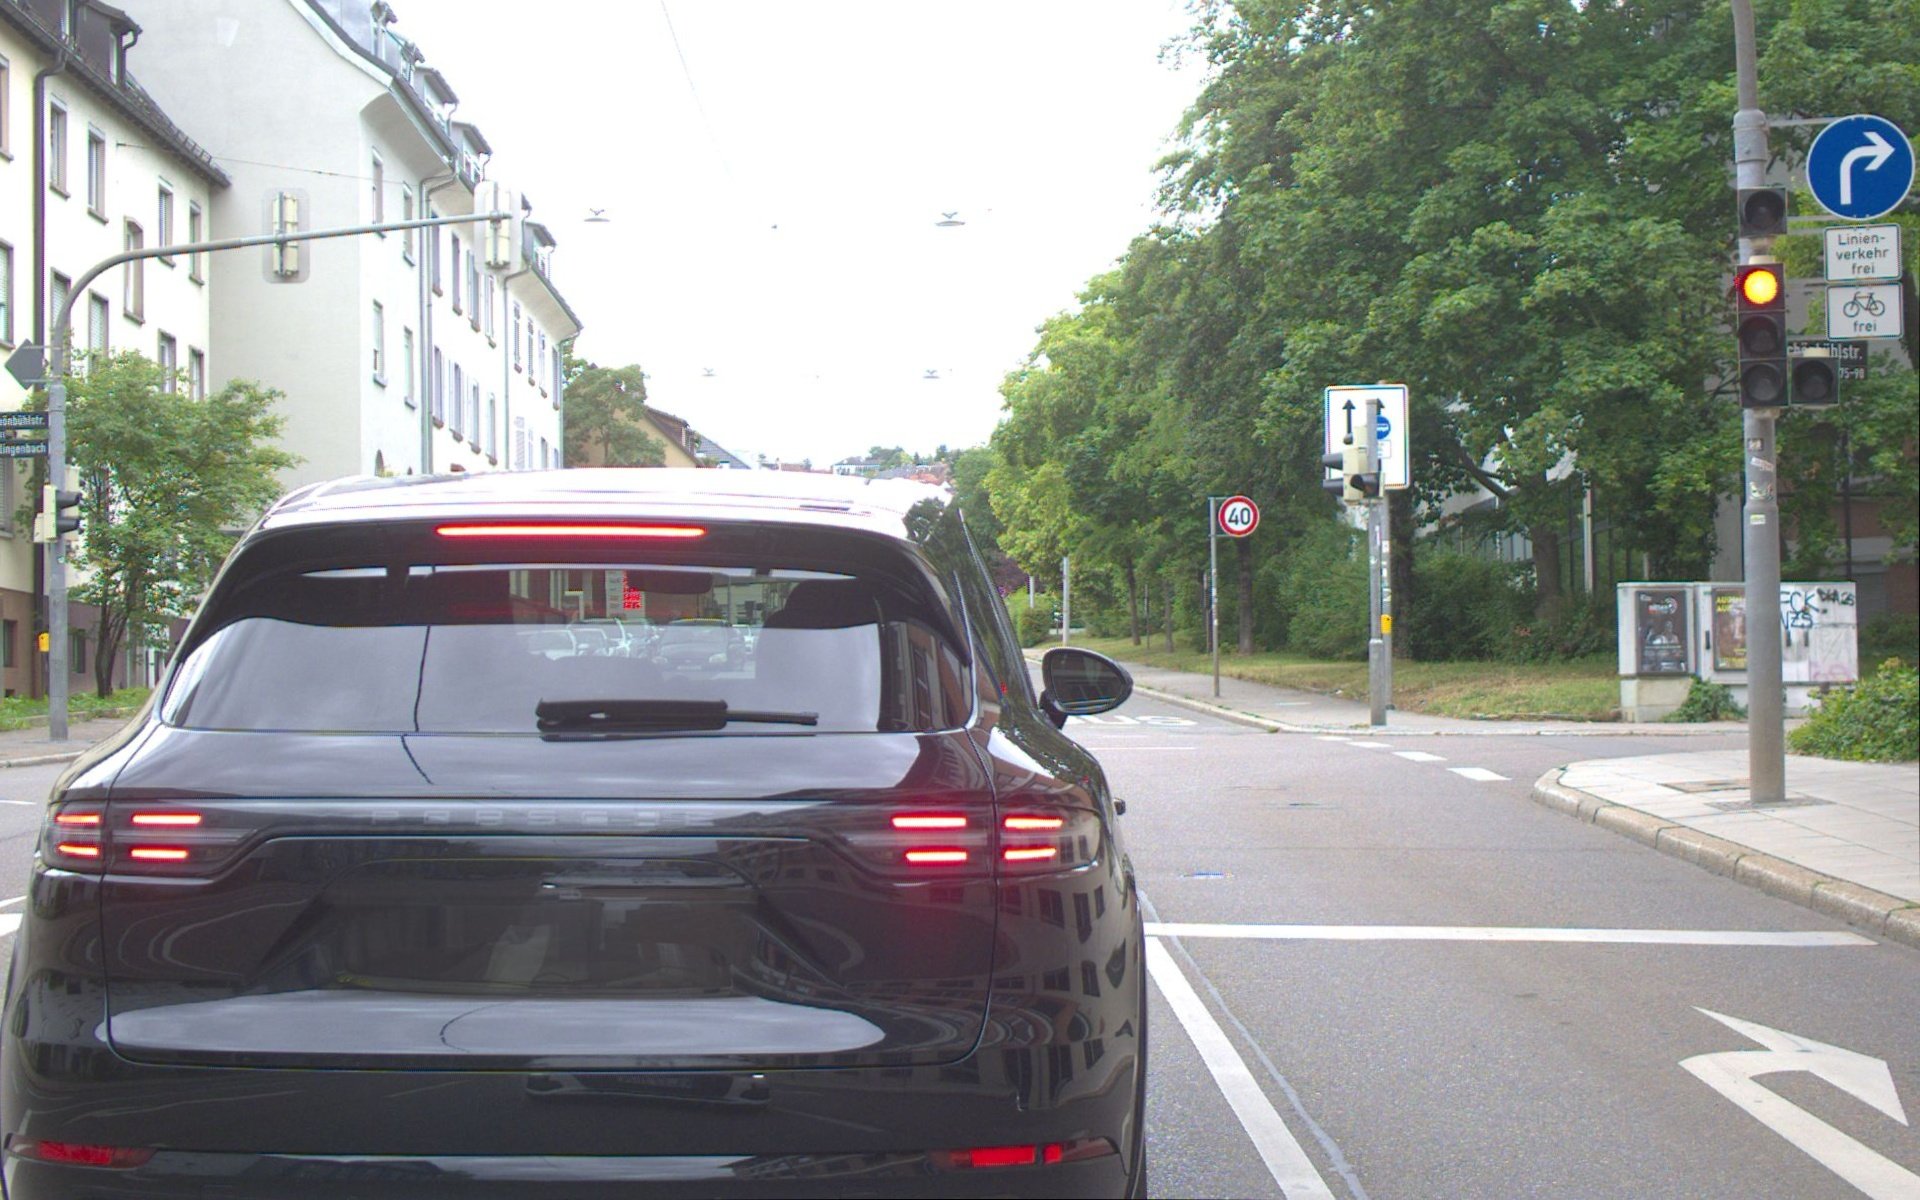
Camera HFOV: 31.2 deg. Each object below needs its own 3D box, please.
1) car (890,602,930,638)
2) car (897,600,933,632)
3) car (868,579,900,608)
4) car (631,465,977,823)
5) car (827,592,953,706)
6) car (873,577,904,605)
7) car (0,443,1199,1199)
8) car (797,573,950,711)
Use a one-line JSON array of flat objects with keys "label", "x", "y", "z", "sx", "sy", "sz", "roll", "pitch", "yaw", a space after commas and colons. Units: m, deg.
[{"label": "car", "x": -2.366, "y": 0.948, "z": 163.315, "sx": 1.827, "sy": 1.599, "sz": 4.135, "roll": 1, "pitch": 1, "yaw": 0}, {"label": "car", "x": -2.373, "y": 0.836, "z": 182.491, "sx": 1.827, "sy": 1.599, "sz": 4.135, "roll": 1, "pitch": 1, "yaw": 0}, {"label": "car", "x": -4.468, "y": -0.407, "z": 202.951, "sx": 1.827, "sy": 1.599, "sz": 4.135, "roll": 1, "pitch": 1, "yaw": 0}, {"label": "car", "x": -0.915, "y": 0.220, "z": 21.903, "sx": 1.965, "sy": 2.035, "sz": 4.135, "roll": 1, "pitch": 1, "yaw": 0}, {"label": "car", "x": -1.037, "y": 0.716, "z": 52.546, "sx": 1.827, "sy": 1.599, "sz": 3.859, "roll": 1, "pitch": 1, "yaw": 0}, {"label": "car", "x": -4.369, "y": -0.561, "z": 210.276, "sx": 1.827, "sy": 1.599, "sz": 4.135, "roll": 1, "pitch": 1, "yaw": 0}, {"label": "car", "x": -0.695, "y": 0.571, "z": 7.255, "sx": 2.048, "sy": 1.660, "sz": 4.267, "roll": 1, "pitch": 1, "yaw": 0}, {"label": "car", "x": -1.062, "y": 0.494, "z": 43.827, "sx": 1.827, "sy": 1.599, "sz": 4.135, "roll": 1, "pitch": 1, "yaw": 0}]
